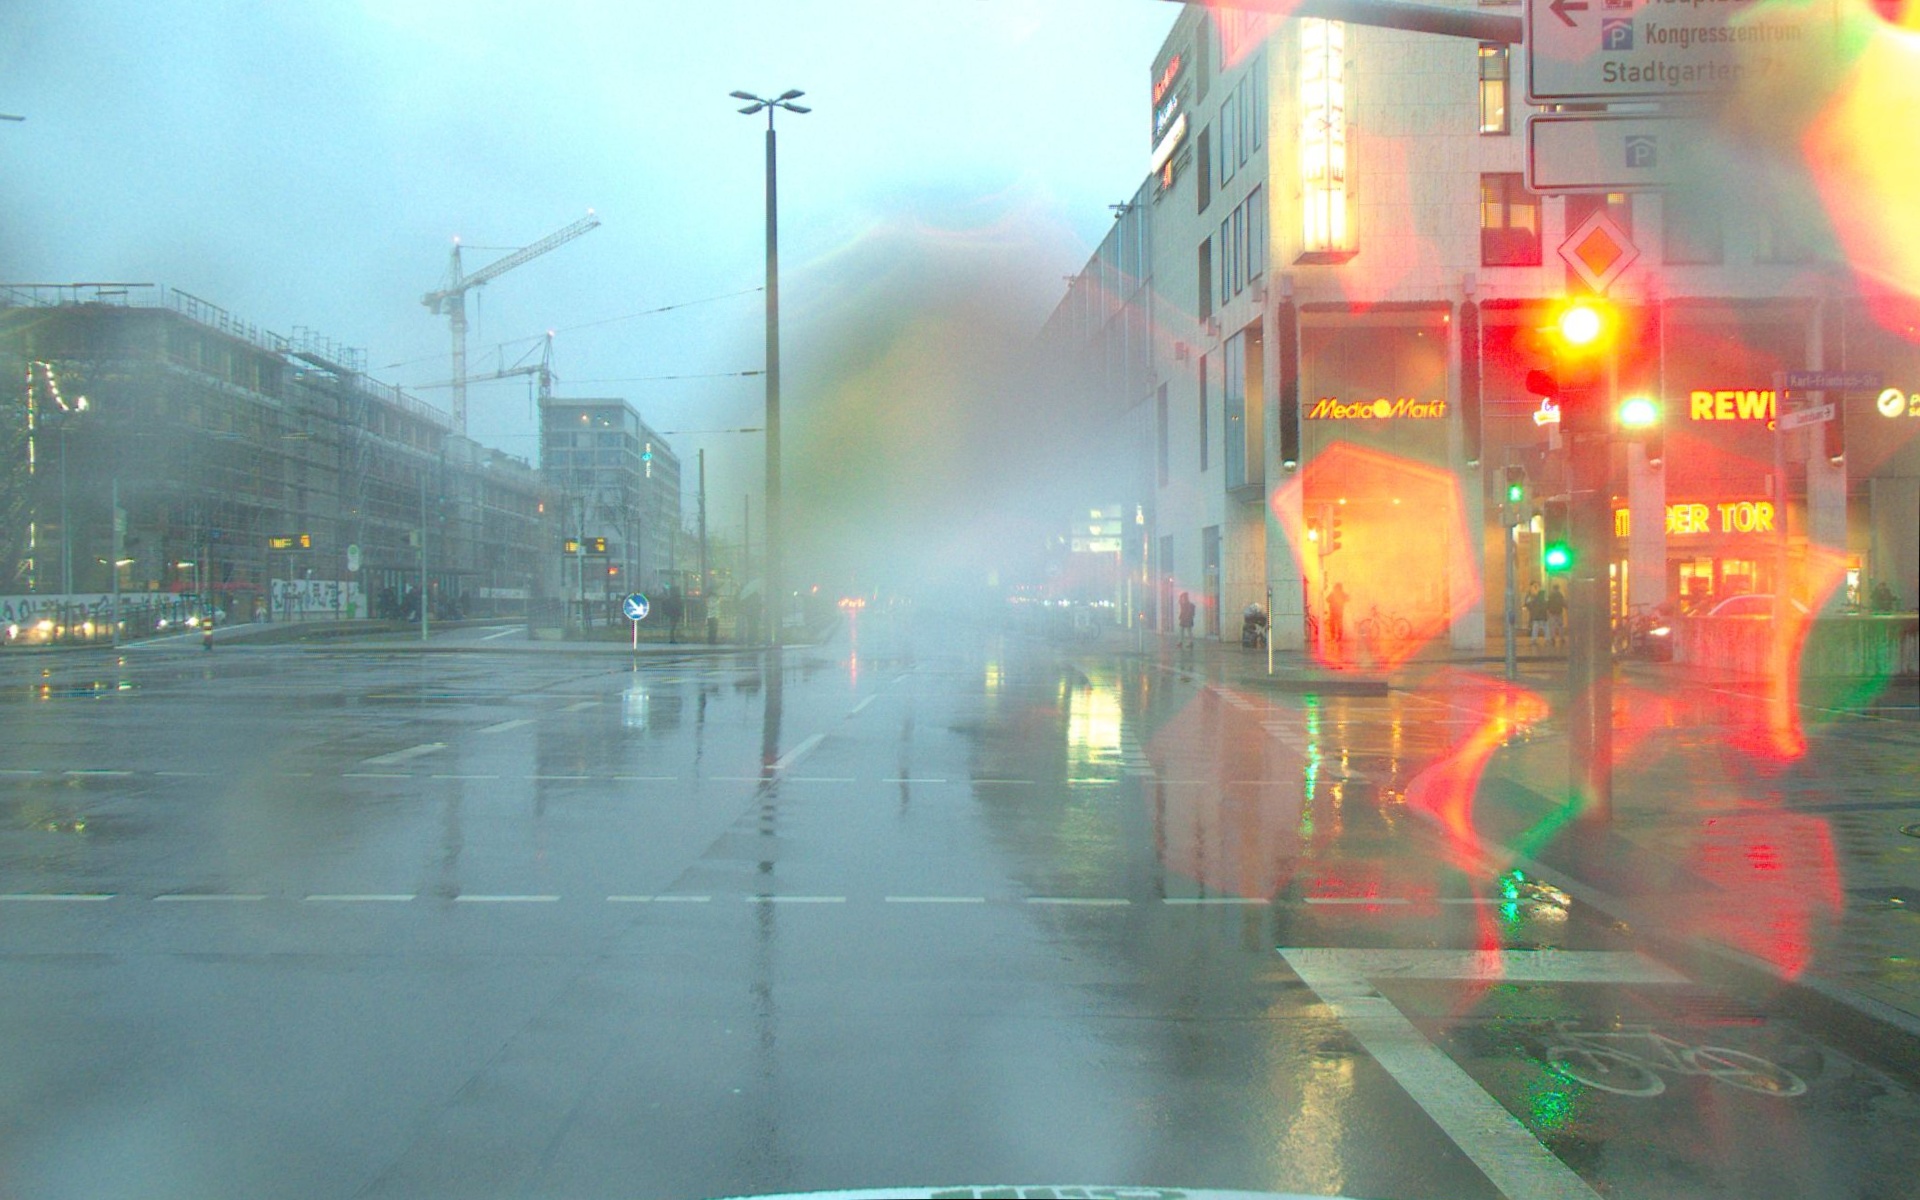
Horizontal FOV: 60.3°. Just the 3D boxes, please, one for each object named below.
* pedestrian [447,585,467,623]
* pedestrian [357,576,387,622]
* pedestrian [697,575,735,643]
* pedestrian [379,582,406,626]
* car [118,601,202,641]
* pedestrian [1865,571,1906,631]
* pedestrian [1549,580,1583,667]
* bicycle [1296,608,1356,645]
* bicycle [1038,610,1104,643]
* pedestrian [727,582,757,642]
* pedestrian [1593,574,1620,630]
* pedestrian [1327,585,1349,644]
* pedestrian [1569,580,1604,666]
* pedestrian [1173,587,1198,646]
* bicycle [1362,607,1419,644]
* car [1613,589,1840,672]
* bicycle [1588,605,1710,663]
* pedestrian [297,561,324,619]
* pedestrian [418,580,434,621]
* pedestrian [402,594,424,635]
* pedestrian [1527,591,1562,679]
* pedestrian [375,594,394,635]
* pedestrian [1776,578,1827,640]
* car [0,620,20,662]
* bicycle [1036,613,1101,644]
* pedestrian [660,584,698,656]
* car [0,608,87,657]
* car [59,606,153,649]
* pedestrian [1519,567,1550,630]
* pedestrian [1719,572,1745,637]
[{"bbox_3d":[-27.652,0.220,90.918,0.925,2.049,1.091,1,-1,-10],"label":"pedestrian"},{"bbox_3d":[-26.816,-0.032,75.453,0.923,2.049,1.094,1,-1,-1],"label":"pedestrian"},{"bbox_3d":[-6.849,0.254,46.399,0.813,1.863,0.777,1,-1,-31],"label":"pedestrian"},{"bbox_3d":[-26.762,0.180,77.993,0.923,2.049,1.093,1,-1,-3],"label":"pedestrian"},{"bbox_3d":[-37.923,0.999,78.504,1.952,1.822,4.001,1,0,1],"label":"car"},{"bbox_3d":[26.870,0.032,48.030,0.875,1.714,0.528,-1,-1,-1],"label":"pedestrian"},{"bbox_3d":[17.534,0.685,47.869,0.675,2.484,0.758,1,-1,-1],"label":"pedestrian"},{"bbox_3d":[11.250,0.820,50.832,1.734,1.088,0.523,1,-1,-9],"label":"bicycle"},{"bbox_3d":[4.129,0.973,61.636,2.393,1.174,0.674,-1,-1,-2],"label":"bicycle"},{"bbox_3d":[-6.314,0.338,47.888,0.601,1.715,0.575,0,-1,41],"label":"pedestrian"},{"bbox_3d":[20.488,0.076,52.414,0.721,1.748,0.738,-1,-1,27],"label":"pedestrian"},{"bbox_3d":[11.401,0.436,49.928,0.587,1.775,0.525,1,-1,7],"label":"pedestrian"},{"bbox_3d":[18.228,0.668,48.138,0.679,2.491,0.791,1,-1,-1],"label":"pedestrian"},{"bbox_3d":[6.687,0.490,49.062,0.624,1.739,0.573,-1,0,-2],"label":"pedestrian"},{"bbox_3d":[13.267,0.786,50.998,1.614,1.088,0.524,1,-1,-5],"label":"bicycle"},{"bbox_3d":[16.193,0.626,35.086,3.905,1.646,2.000,1,0,0],"label":"car"},{"bbox_3d":[17.201,0.843,41.340,2.659,1.383,0.957,-1,-1,-4],"label":"bicycle"},{"bbox_3d":[-26.841,-0.393,68.361,0.750,2.364,0.762,1,-2,-1],"label":"pedestrian"},{"bbox_3d":[-25.947,0.029,80.386,0.559,2.002,0.664,2,-1,-7],"label":"pedestrian"},{"bbox_3d":[-26.256,0.705,79.372,0.750,1.931,0.762,1,-2,-1],"label":"pedestrian"},{"bbox_3d":[16.756,0.993,47.404,0.700,2.484,0.758,1,-1,-1],"label":"pedestrian"},{"bbox_3d":[-26.667,0.671,76.652,0.684,1.913,0.553,1,-1,-2],"label":"pedestrian"},{"bbox_3d":[23.583,0.247,46.359,1.009,1.713,0.824,1,-1,-1],"label":"pedestrian"},{"bbox_3d":[-36.406,1.526,60.528,2.038,1.557,4.604,-1,0,-10],"label":"car"},{"bbox_3d":[4.077,1.066,62.437,2.376,1.118,0.711,-1,-1,-3],"label":"bicycle"},{"bbox_3d":[-8.019,0.571,47.253,0.771,2.049,0.724,0,-1,41],"label":"pedestrian"},{"bbox_3d":[-37.169,1.286,67.014,1.830,1.860,3.993,1,0,-8],"label":"car"},{"bbox_3d":[-37.602,1.198,72.959,1.952,1.822,4.001,1,0,1],"label":"car"},{"bbox_3d":[18.964,-0.038,54.564,0.828,2.049,0.698,-1,0,8],"label":"pedestrian"},{"bbox_3d":[22.200,0.135,47.565,0.540,1.858,0.361,-1,-1,0],"label":"pedestrian"}]
